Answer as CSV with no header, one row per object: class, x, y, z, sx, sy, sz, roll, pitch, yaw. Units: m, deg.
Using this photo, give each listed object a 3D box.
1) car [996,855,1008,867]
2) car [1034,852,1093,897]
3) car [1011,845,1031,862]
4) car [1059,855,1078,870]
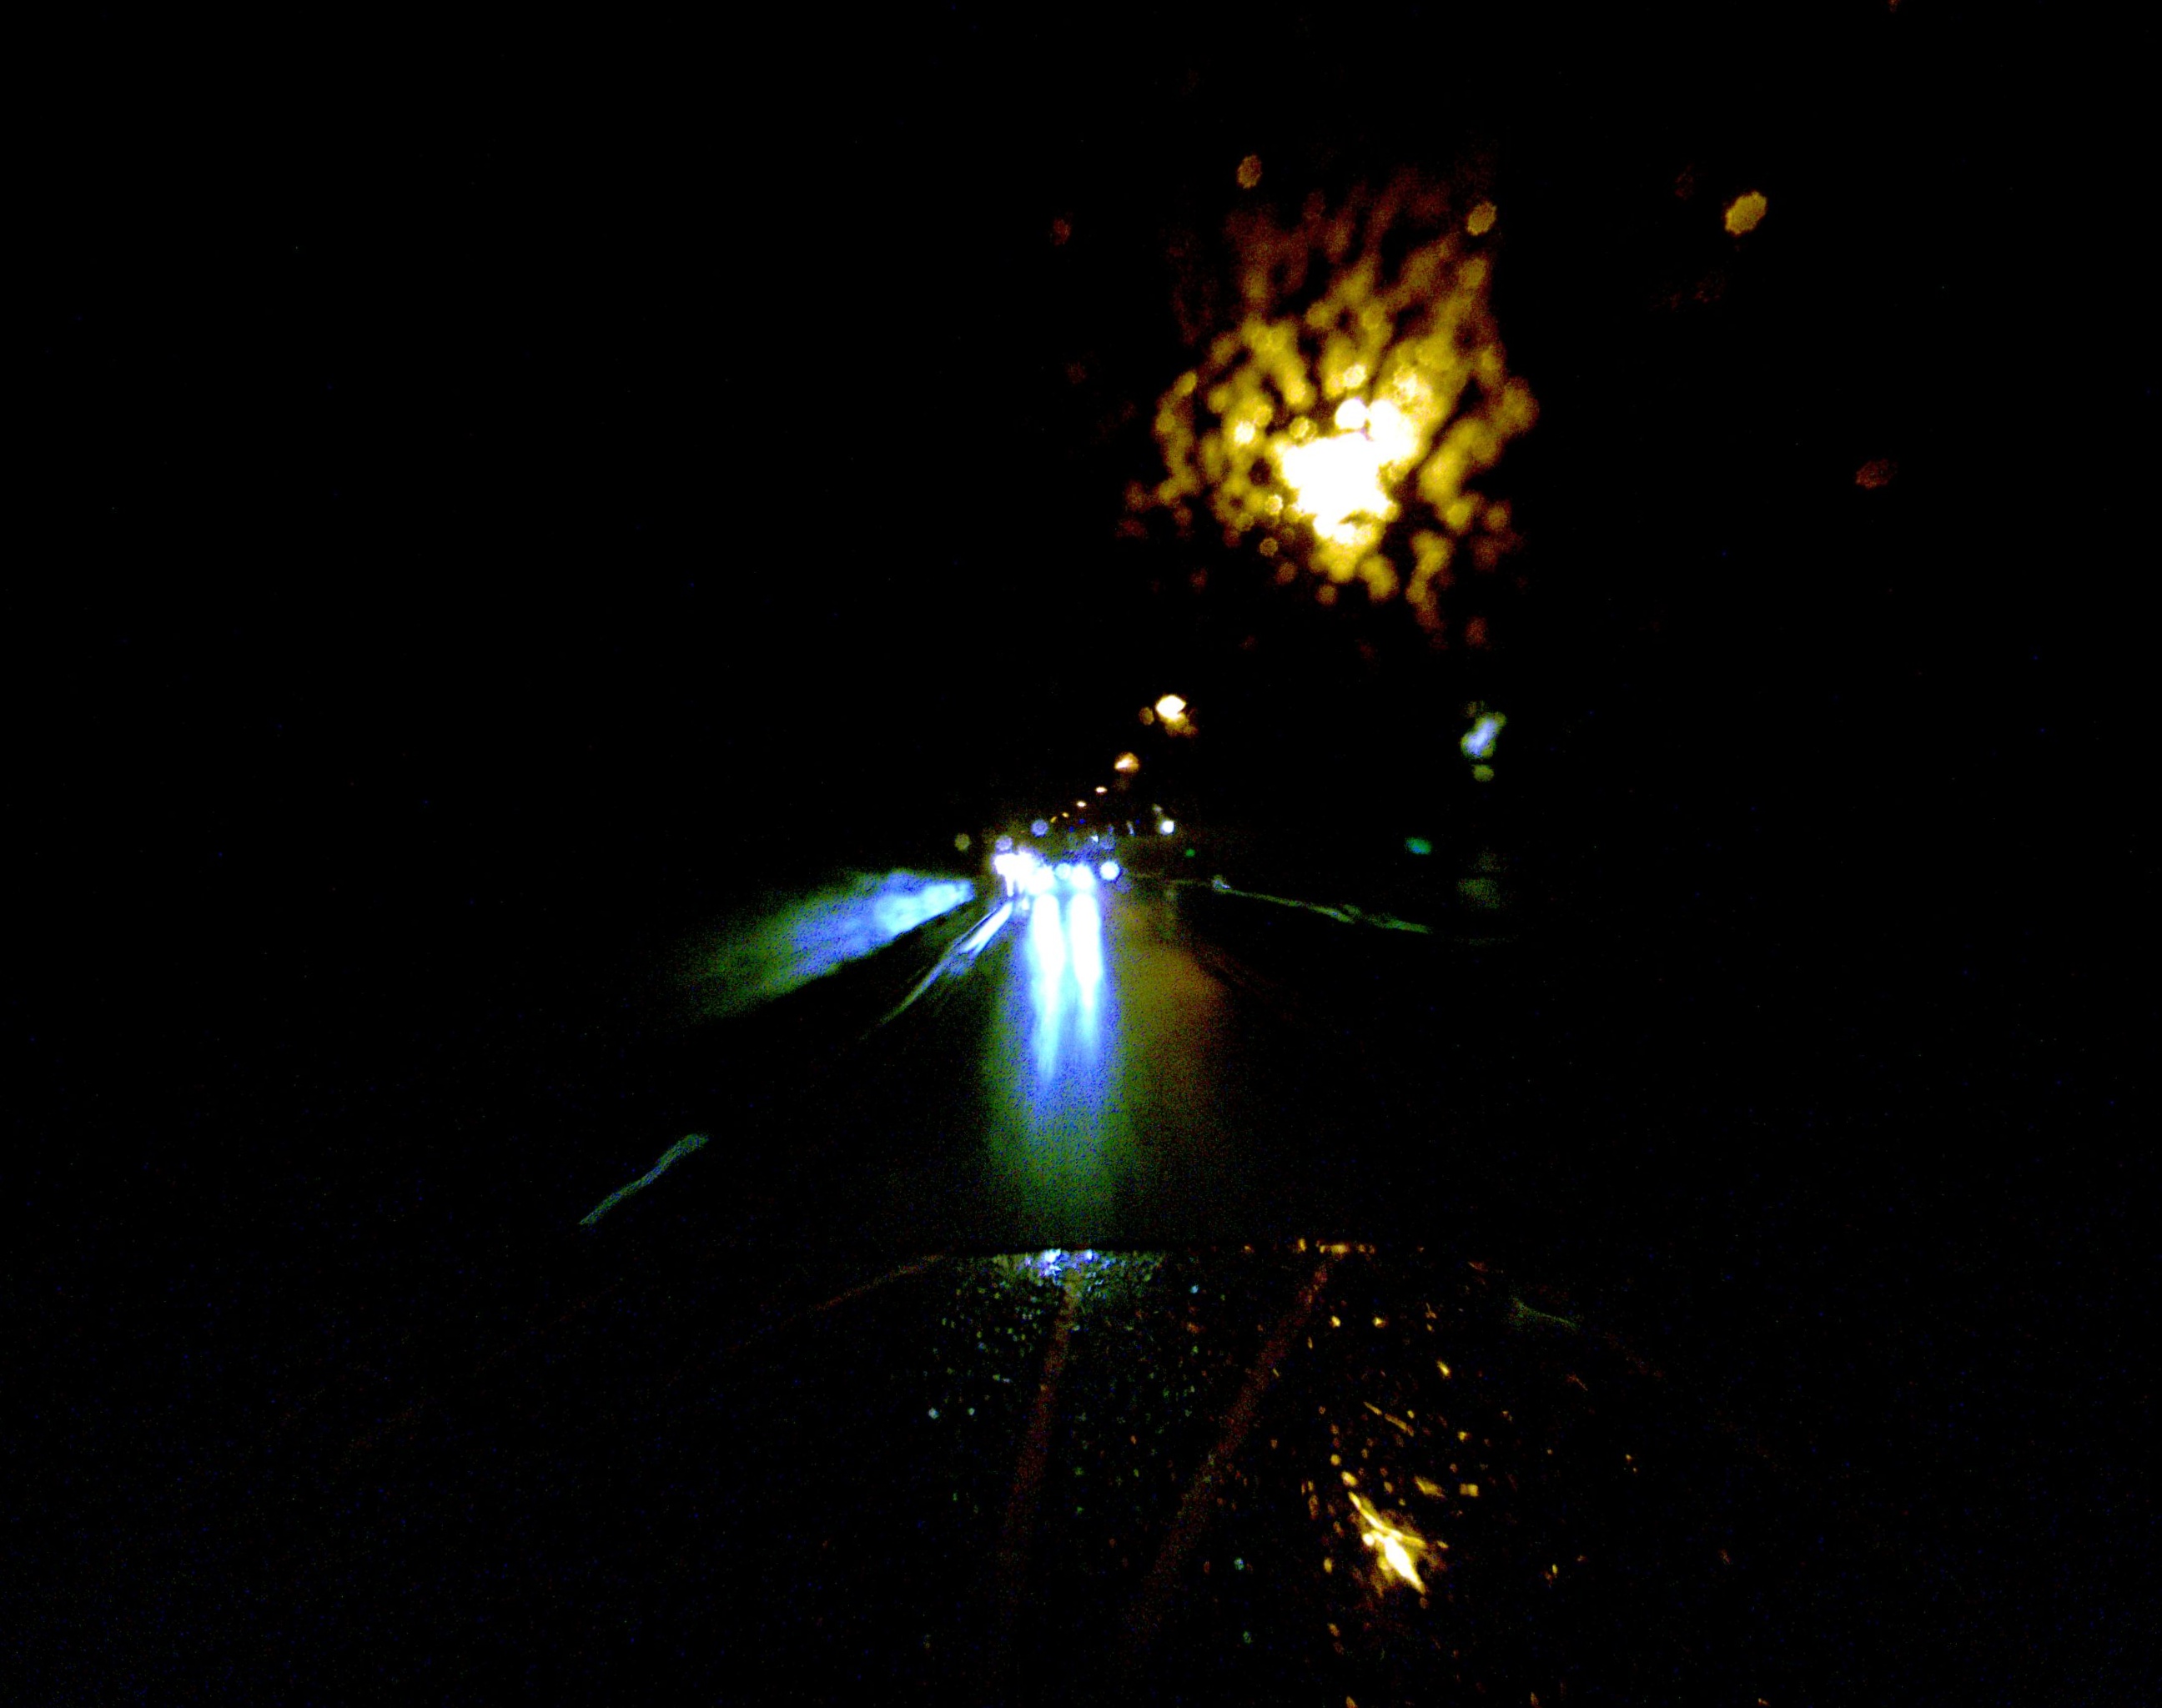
car,-12.044,1.017,115.398,1.709,1.762,3.997,-1,1,-6
car,-0.821,0.766,31.297,1.999,1.585,4.605,-2,1,-6
car,-7.363,-0.026,92.884,1.901,2.002,3.995,-1,1,-12
car,-1.317,0.785,76.510,1.717,1.370,4.583,-3,0,-3
